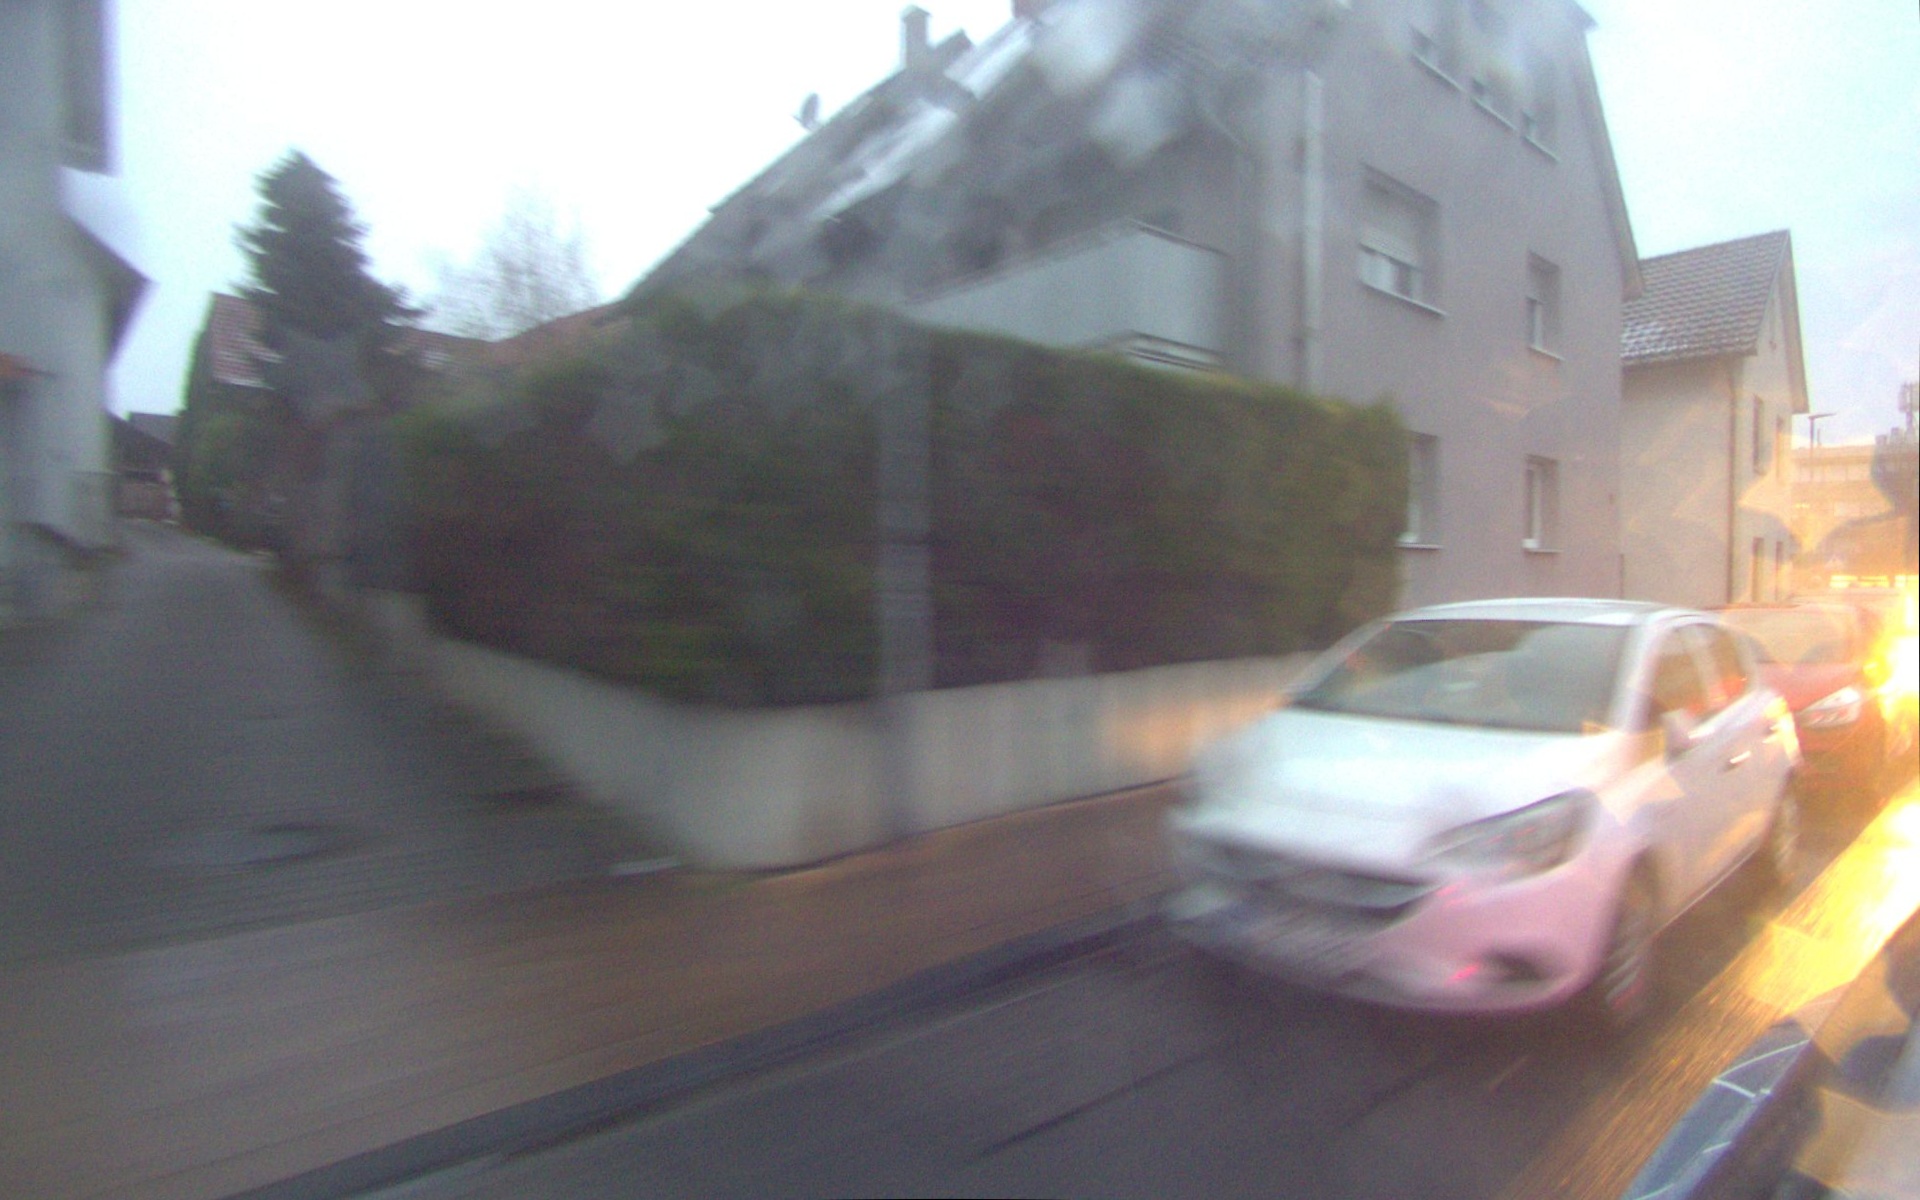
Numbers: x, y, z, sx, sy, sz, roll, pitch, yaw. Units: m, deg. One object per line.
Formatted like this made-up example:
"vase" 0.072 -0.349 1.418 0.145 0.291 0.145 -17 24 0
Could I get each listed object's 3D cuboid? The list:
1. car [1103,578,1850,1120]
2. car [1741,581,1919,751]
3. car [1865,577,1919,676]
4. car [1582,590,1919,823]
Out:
"car" 2.741 0.673 4.819 4.294 1.496 1.647 0 1 -40
"car" 10.316 0.584 11.199 4.229 1.558 1.813 -1 2 -40
"car" 17.965 0.437 18.240 4.162 1.669 1.989 0 1 -41
"car" 6.831 0.644 8.291 4.228 1.424 1.739 0 1 -40
